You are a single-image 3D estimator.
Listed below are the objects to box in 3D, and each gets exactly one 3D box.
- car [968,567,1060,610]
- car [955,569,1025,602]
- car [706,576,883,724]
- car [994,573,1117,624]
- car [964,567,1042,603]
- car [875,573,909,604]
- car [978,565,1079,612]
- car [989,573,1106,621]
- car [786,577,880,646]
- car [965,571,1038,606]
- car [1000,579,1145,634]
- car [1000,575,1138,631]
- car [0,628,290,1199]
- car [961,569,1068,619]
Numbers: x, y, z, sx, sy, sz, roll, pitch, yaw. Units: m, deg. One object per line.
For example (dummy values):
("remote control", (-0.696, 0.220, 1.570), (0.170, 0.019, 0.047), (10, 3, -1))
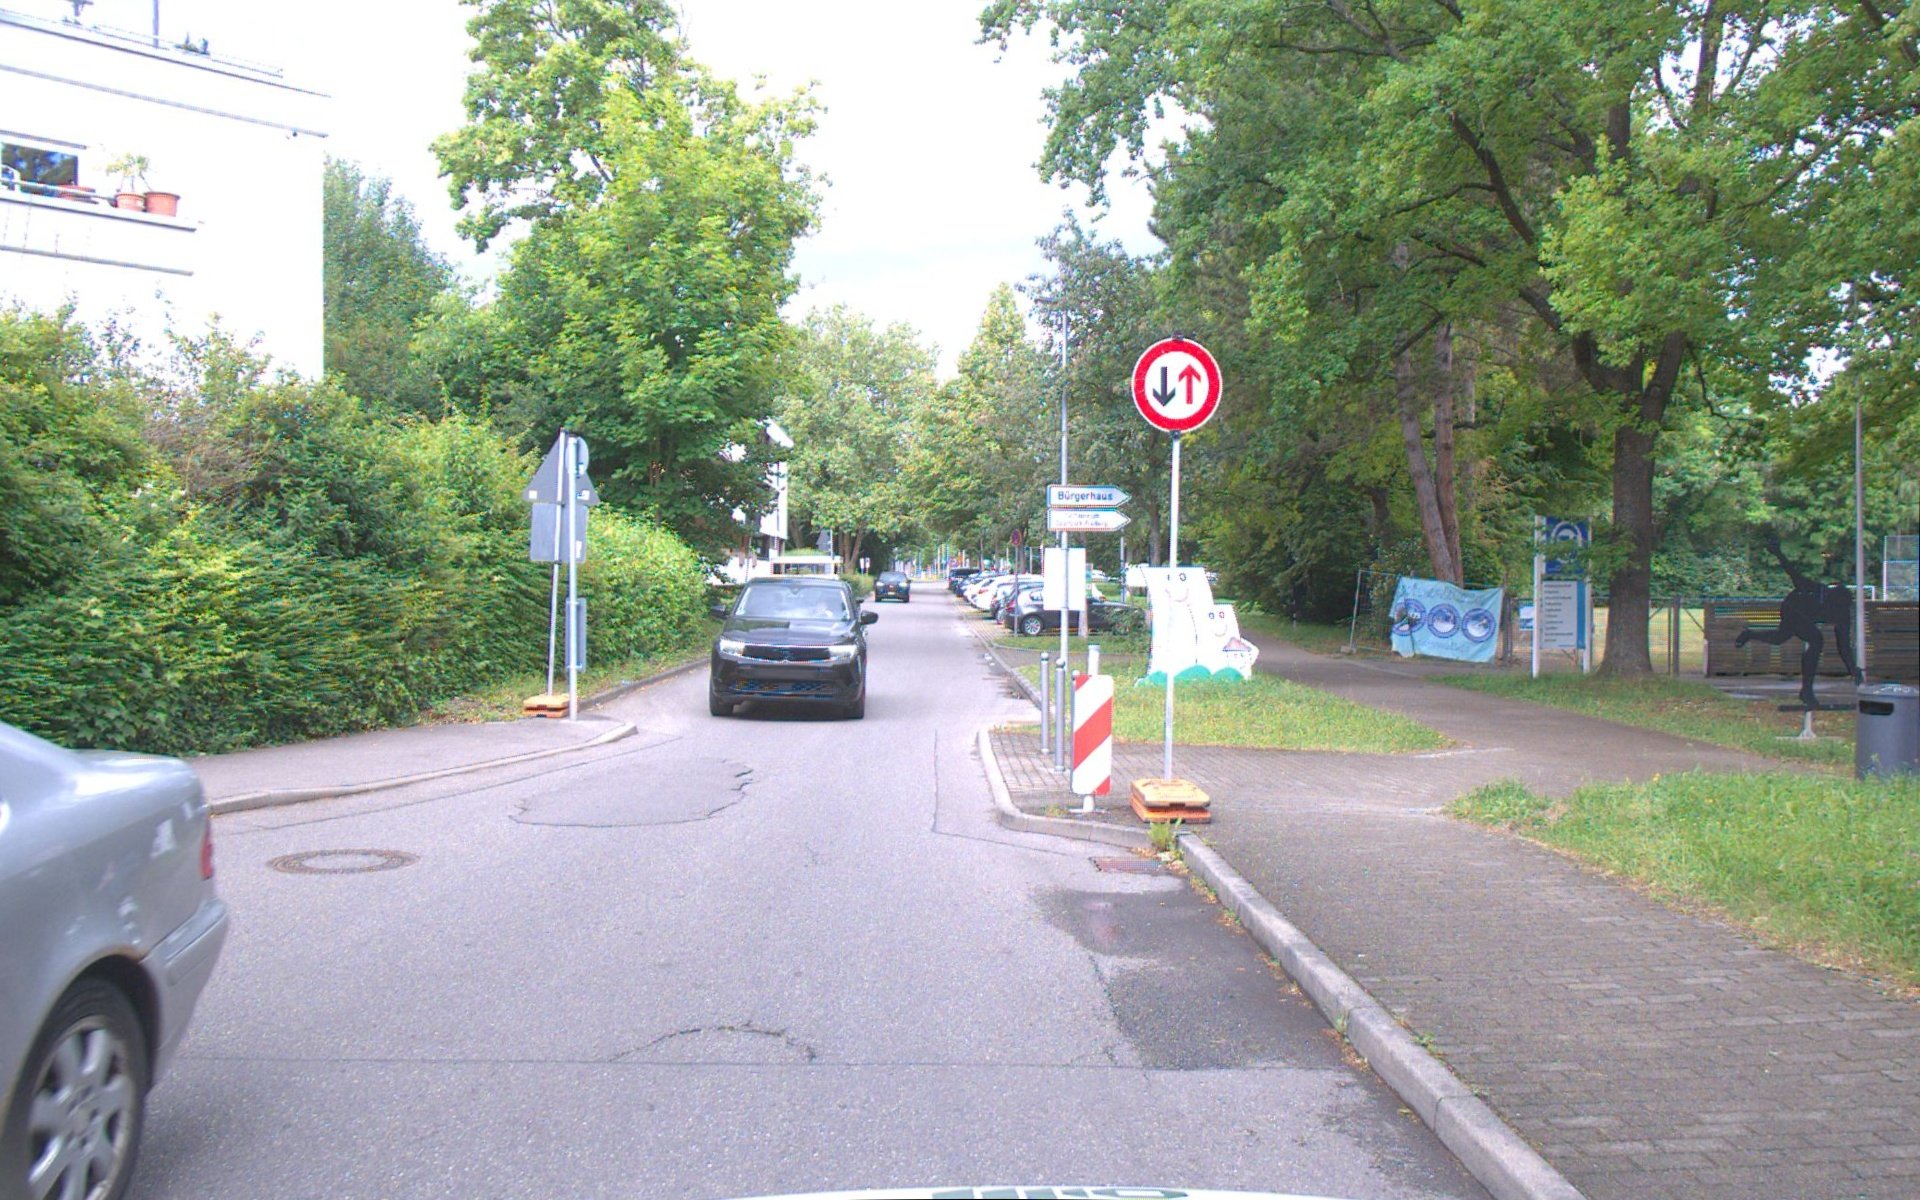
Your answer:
("car", (2.458, -0.551, 76.054), (3.984, 1.716, 1.821), (-3, 1, -5))
("car", (1.818, -0.872, 100.145), (3.984, 1.716, 1.821), (-3, 1, -5))
("car", (-1.934, 0.534, 20.491), (1.766, 1.619, 4.296), (1, 1, 0))
("car", (3.180, -0.060, 55.665), (3.981, 1.595, 1.822), (-1, 1, -2))
("car", (2.296, -0.817, 89.199), (3.984, 1.716, 1.821), (-3, 1, -5))
("car", (-3.966, -0.700, 97.120), (1.929, 1.778, 4.337), (1, 1, -2))
("car", (2.860, -0.488, 69.688), (3.984, 1.716, 1.821), (-3, 1, -5))
("car", (3.175, -0.125, 60.376), (3.984, 1.514, 1.821), (-3, 1, -5))
("car", (-3.126, 0.256, 41.485), (1.765, 1.619, 4.298), (1, 1, 4))
("car", (2.370, -0.663, 95.088), (3.984, 1.716, 1.821), (-3, 1, -5))
("car", (3.227, 0.202, 47.996), (3.981, 1.459, 1.999), (-1, -1, -2))
("car", (3.277, 0.094, 50.187), (3.981, 1.596, 1.821), (-1, -1, -2))
("car", (-2.705, 0.762, 2.383), (1.745, 1.329, 4.296), (1, 1, 0))
("car", (2.137, -0.236, 65.673), (3.984, 1.716, 1.821), (-3, 1, -5))
